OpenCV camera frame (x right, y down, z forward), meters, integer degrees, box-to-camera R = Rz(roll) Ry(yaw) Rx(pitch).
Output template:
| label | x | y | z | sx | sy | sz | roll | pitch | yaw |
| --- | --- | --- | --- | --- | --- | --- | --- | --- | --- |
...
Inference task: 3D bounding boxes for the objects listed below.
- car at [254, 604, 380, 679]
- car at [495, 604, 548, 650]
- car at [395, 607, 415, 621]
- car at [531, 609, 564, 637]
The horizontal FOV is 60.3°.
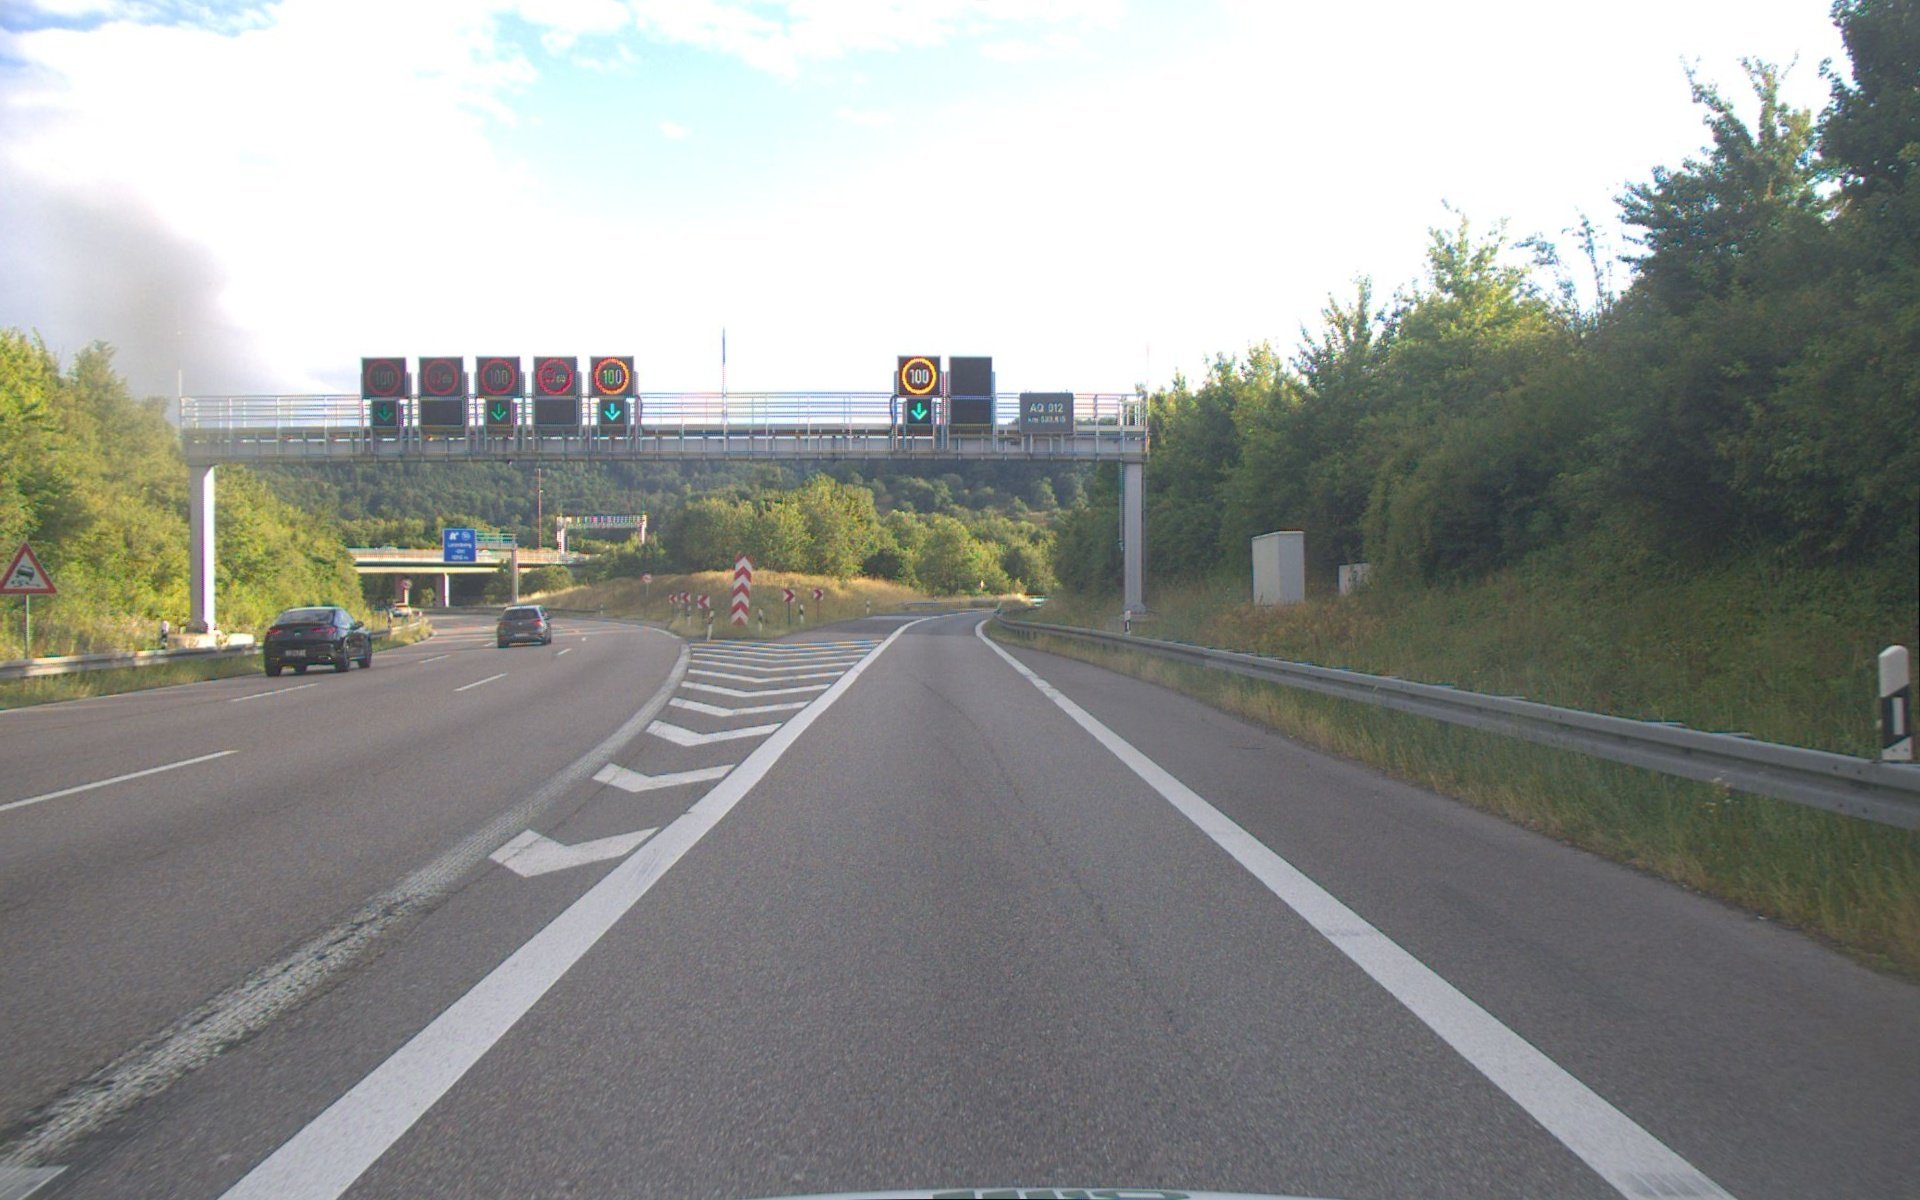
| label | x | y | z | sx | sy | sz | roll | pitch | yaw |
| --- | --- | --- | --- | --- | --- | --- | --- | --- | --- |
| car | -15.853 | 0.978 | 41.000 | 1.797 | 1.664 | 3.995 | -3 | 0 | -5 |
| car | -15.777 | 0.951 | 59.407 | 1.710 | 1.492 | 3.770 | -3 | 1 | -16 |
| car | -58.319 | 1.471 | 173.820 | 1.715 | 1.492 | 3.611 | -1 | 0 | -24 |
| car | -23.599 | 1.298 | 94.566 | 1.579 | 1.492 | 3.510 | -3 | 0 | -17 |
